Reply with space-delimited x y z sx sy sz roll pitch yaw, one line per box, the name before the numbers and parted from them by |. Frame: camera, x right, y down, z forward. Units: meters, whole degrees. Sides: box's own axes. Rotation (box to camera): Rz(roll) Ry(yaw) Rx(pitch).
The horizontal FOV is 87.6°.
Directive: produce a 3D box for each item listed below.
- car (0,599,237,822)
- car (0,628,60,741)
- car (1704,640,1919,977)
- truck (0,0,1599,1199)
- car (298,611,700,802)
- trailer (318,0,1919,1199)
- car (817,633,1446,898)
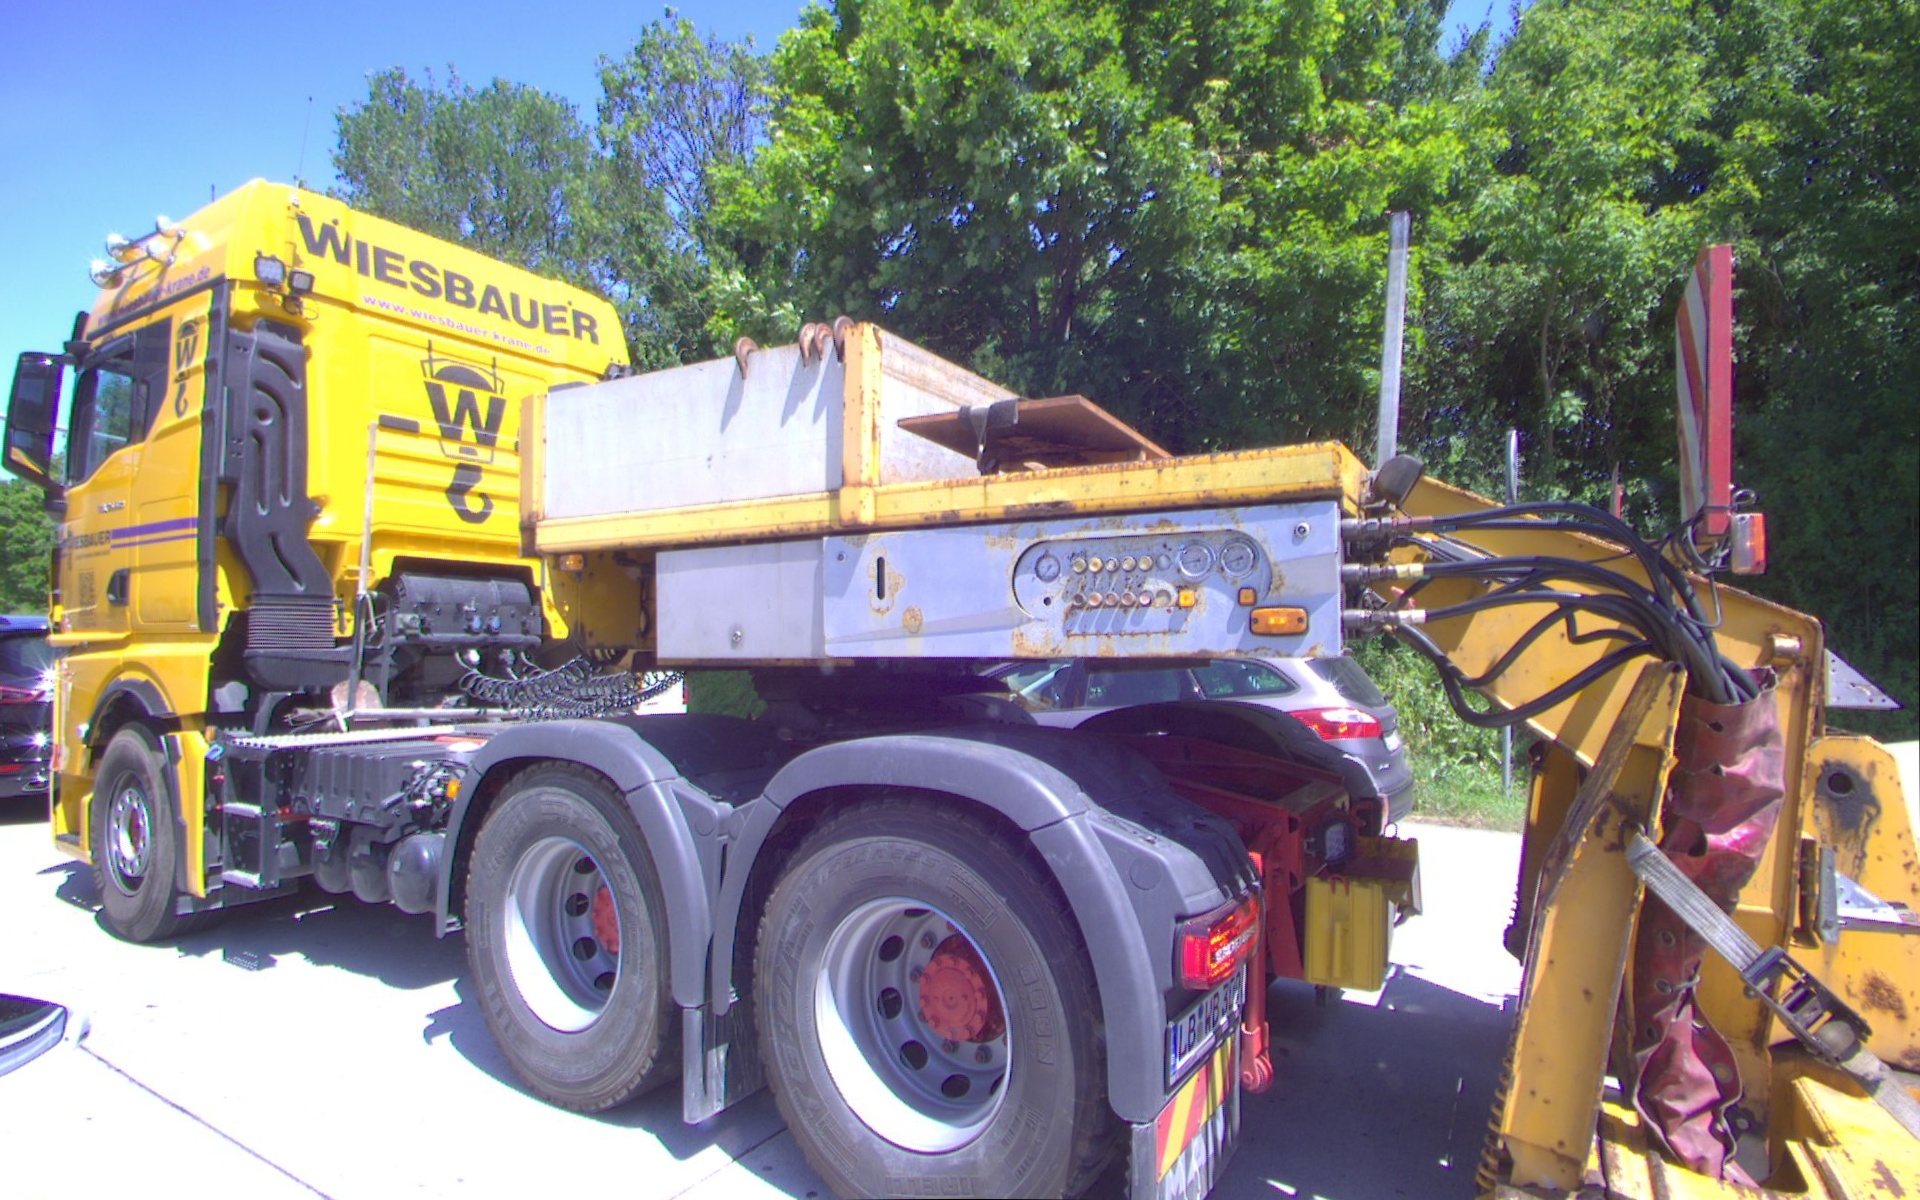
car | -8.665 0.889 9.264 4.584 1.660 1.779 -1 -2 35
car | -14.191 1.115 13.752 4.548 1.428 1.763 -2 -2 35
car | 6.168 0.922 4.330 4.530 1.481 1.766 -1 -2 30
truck | -1.398 -0.331 4.776 7.361 3.821 3.010 -1 -2 31
car | -5.381 1.096 11.533 4.720 1.830 1.766 -1 -2 29
trailer | 5.418 0.198 0.624 16.117 2.626 3.023 -1 -2 31
car | 1.170 0.996 7.474 4.300 1.481 1.765 -1 -2 31
